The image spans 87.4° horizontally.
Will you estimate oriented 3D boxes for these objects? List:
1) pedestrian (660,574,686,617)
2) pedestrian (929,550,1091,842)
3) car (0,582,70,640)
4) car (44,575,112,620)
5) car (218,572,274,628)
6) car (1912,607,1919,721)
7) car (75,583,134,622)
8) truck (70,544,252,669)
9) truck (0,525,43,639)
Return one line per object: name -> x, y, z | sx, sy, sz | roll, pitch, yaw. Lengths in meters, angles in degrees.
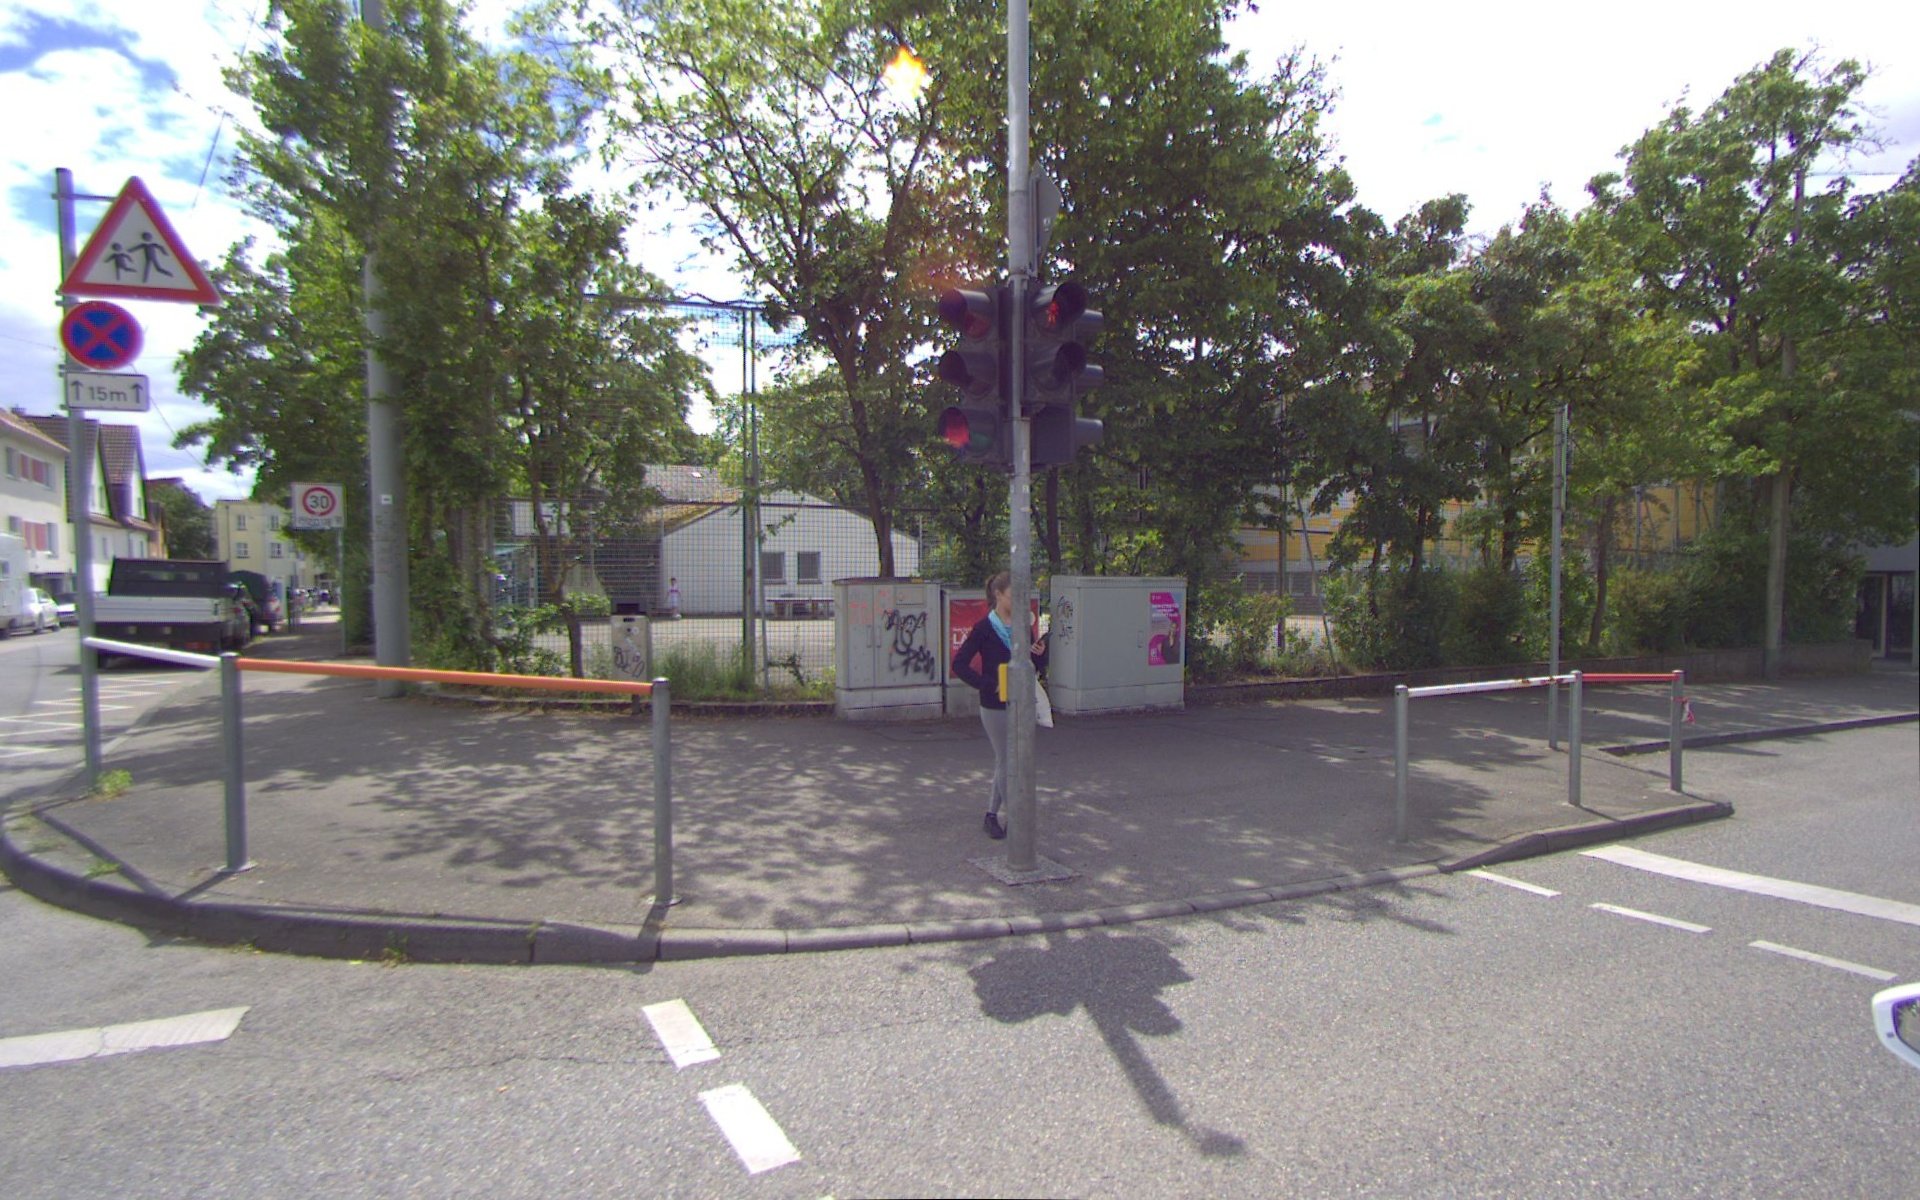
pedestrian -> -10.137, -0.163, 35.429 | 0.697, 1.457, 0.739 | 0, 3, -30
pedestrian -> 0.312, 0.522, 6.039 | 0.758, 1.619, 0.671 | 2, 2, 22
car -> -29.588, 0.313, 31.672 | 1.675, 1.706, 3.494 | 0, 1, -32
car -> -34.713, -0.110, 39.599 | 1.459, 1.663, 3.411 | 0, 1, -32
car -> -22.498, -0.020, 31.693 | 1.276, 1.660, 3.022 | 0, 1, -33
car -> 16.159, 0.951, 14.881 | 4.591, 1.632, 1.786 | 0, 2, -31
car -> -37.309, 0.089, 43.878 | 1.459, 1.663, 3.411 | 0, 1, -32
truck -> -15.145, 0.090, 19.350 | 2.121, 2.062, 5.008 | 1, 0, -32
truck -> -26.401, -0.425, 26.130 | 2.478, 2.966, 7.298 | -4, 3, -34
